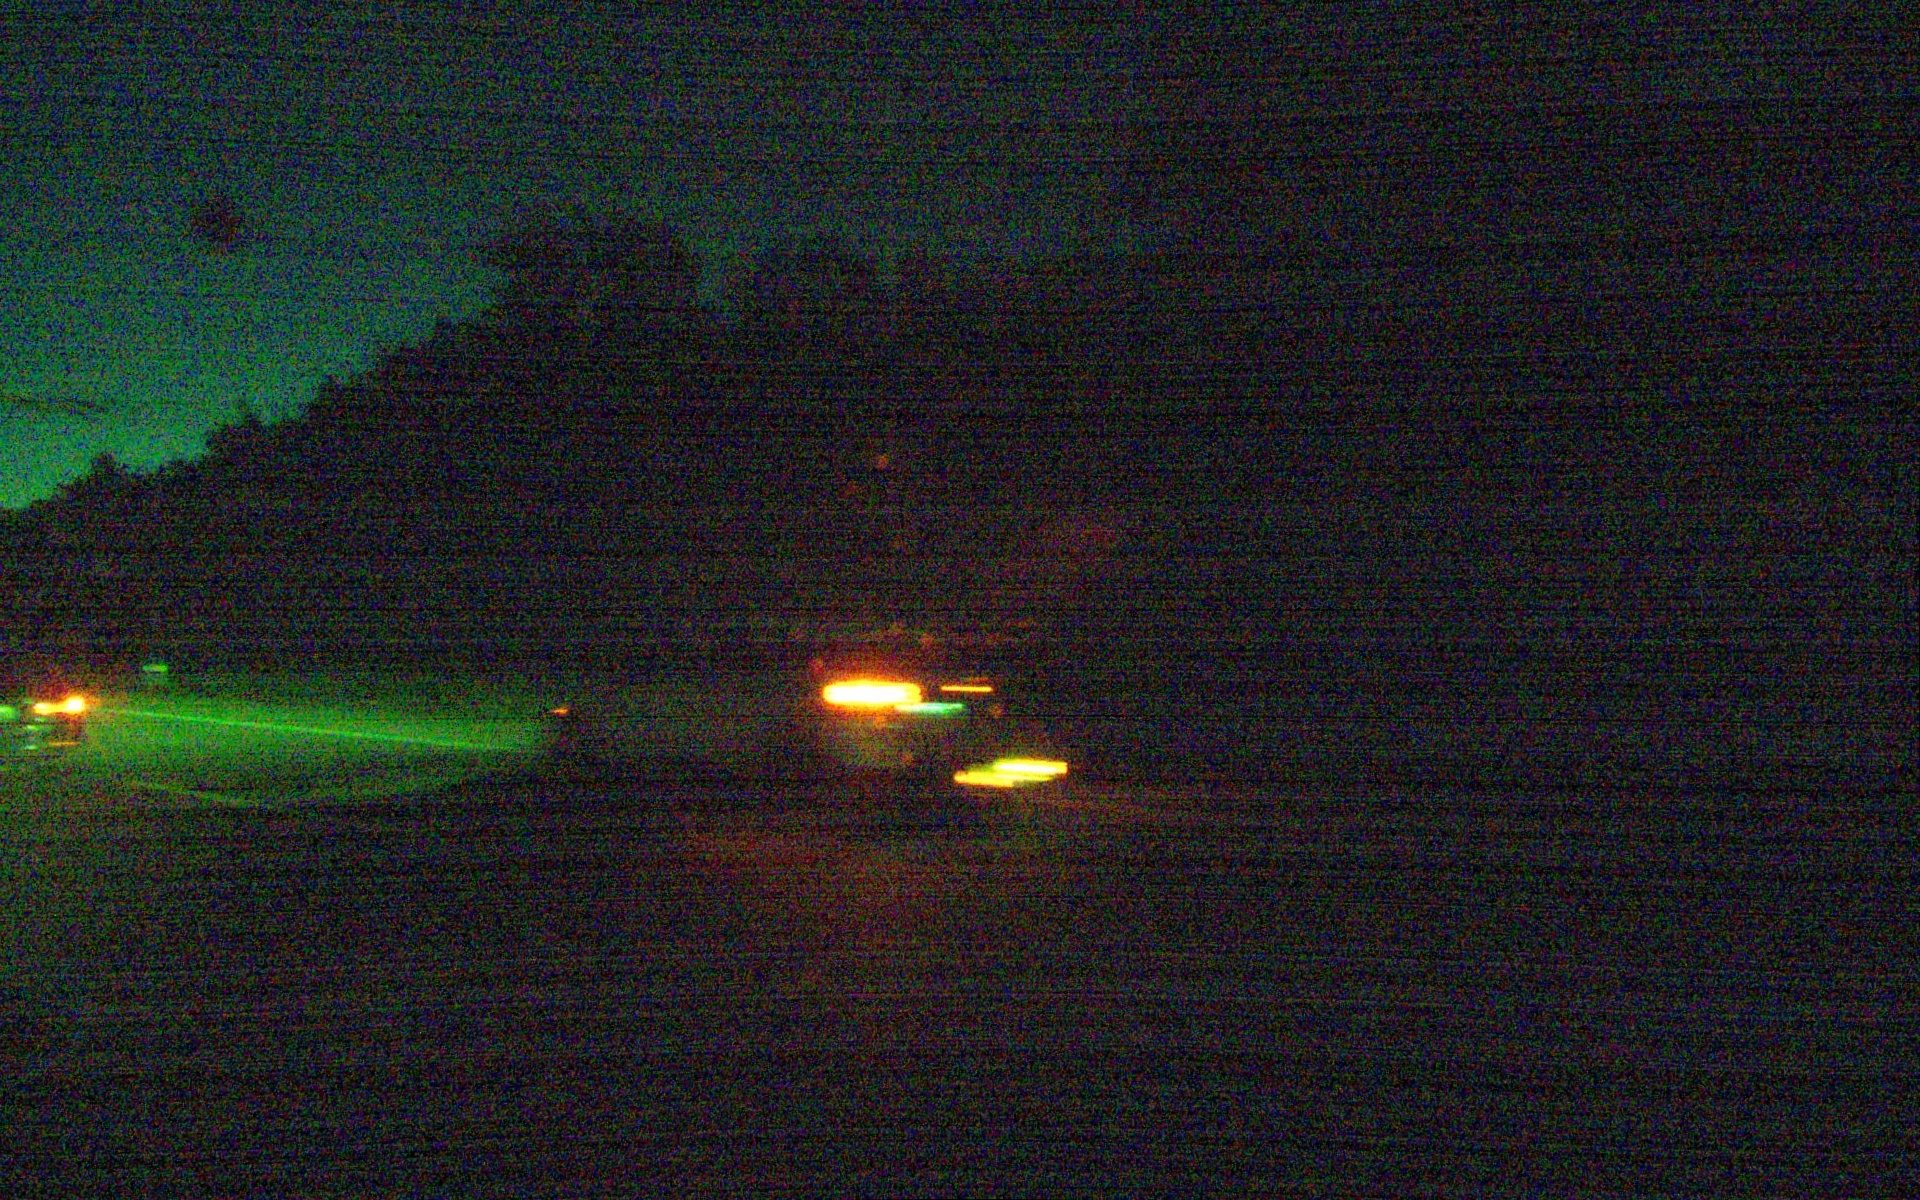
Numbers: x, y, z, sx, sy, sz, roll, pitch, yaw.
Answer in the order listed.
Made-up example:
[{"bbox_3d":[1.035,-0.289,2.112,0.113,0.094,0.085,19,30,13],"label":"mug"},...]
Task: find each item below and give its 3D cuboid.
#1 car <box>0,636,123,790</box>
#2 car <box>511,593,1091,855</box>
[{"bbox_3d":[-11.028,1.095,10.630,4.996,1.419,1.832,-1,-2,32],"label":"car"},{"bbox_3d":[-1.575,0.897,8.898,5.095,1.740,1.990,-1,-2,33],"label":"car"}]
